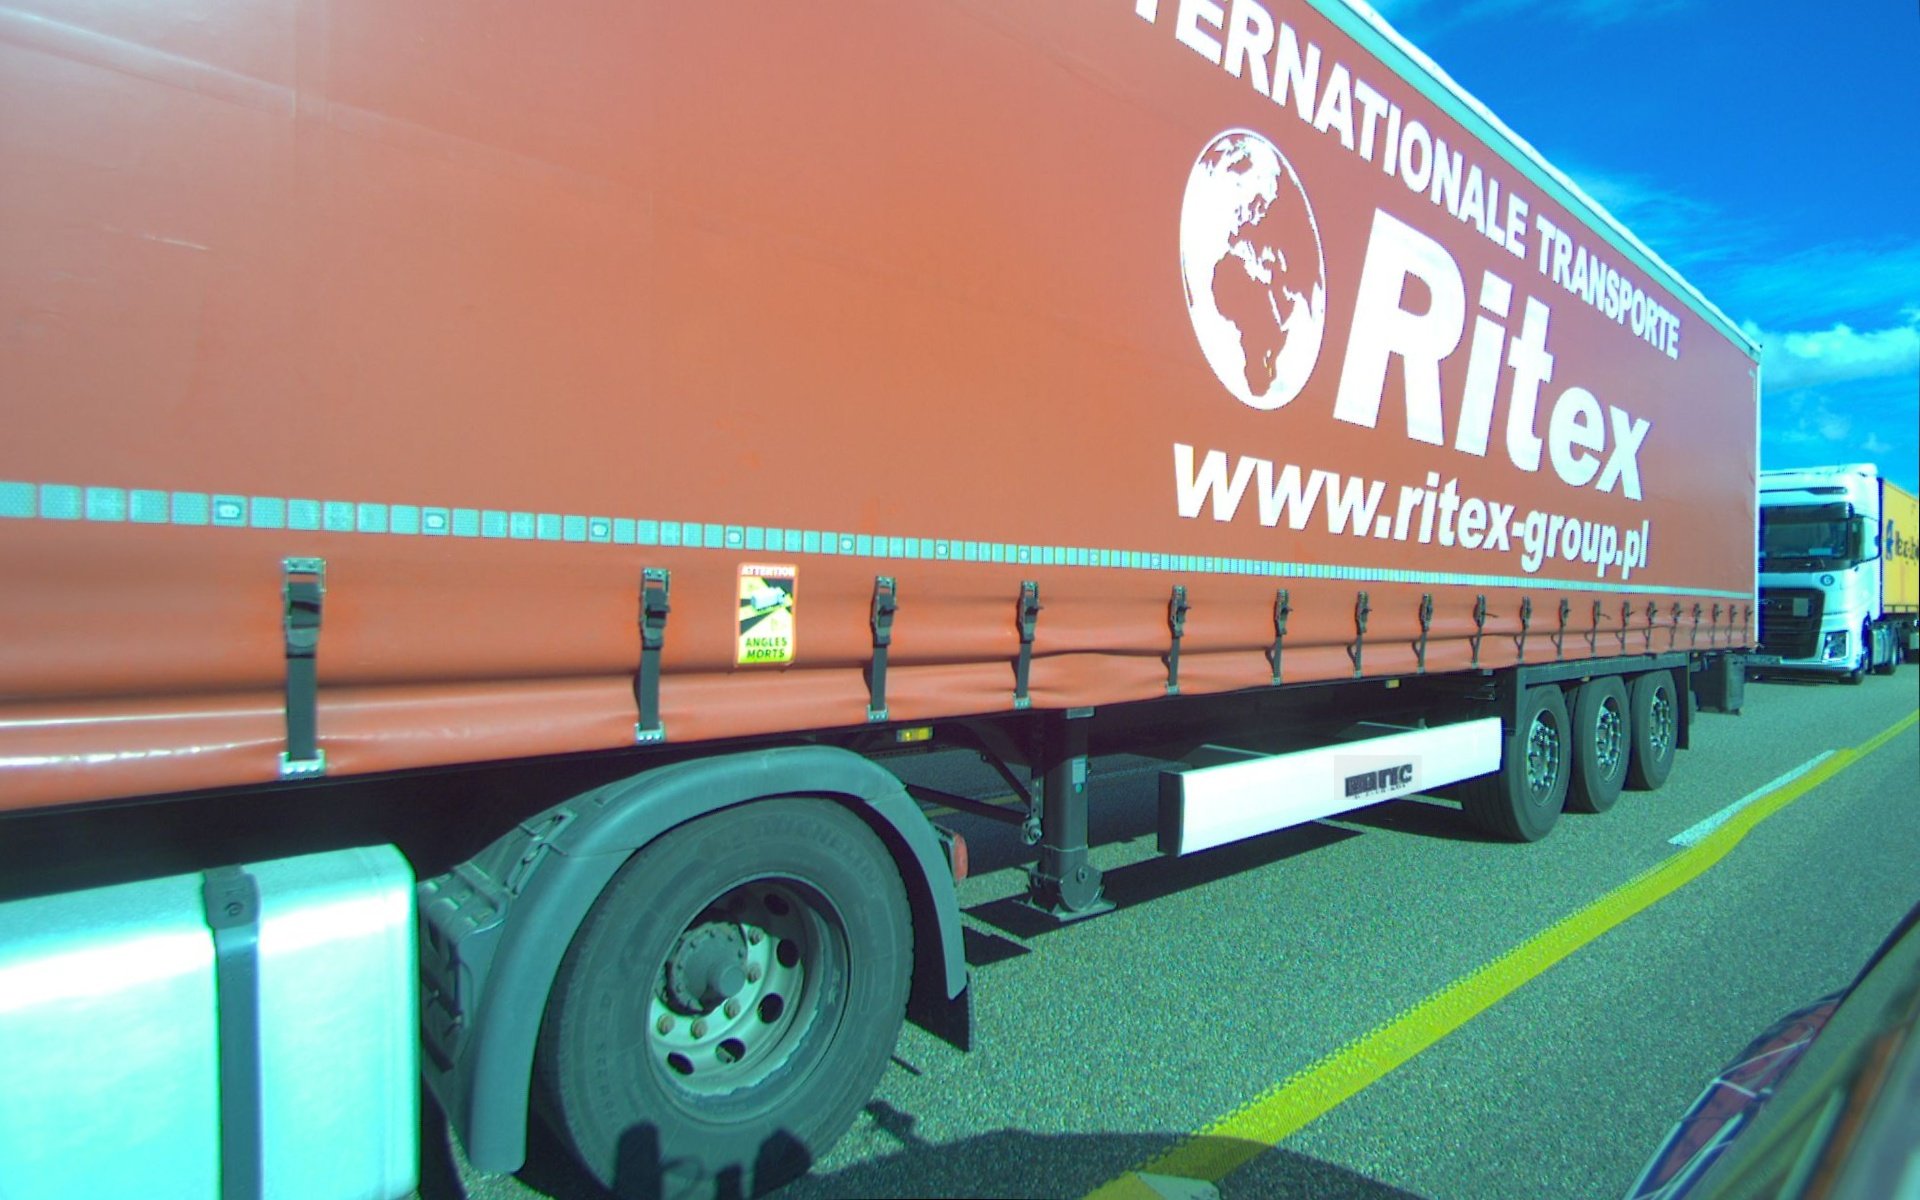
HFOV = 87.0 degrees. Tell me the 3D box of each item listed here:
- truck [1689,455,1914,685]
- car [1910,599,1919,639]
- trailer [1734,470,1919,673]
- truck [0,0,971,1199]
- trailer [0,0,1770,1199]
[{"bbox_3d":[16.462,-0.533,19.670,5.689,3.828,2.499,0,0,-41],"label":"truck"},{"bbox_3d":[34.379,0.637,34.910,4.399,1.367,1.932,0,0,-41],"label":"car"},{"bbox_3d":[21.361,-0.569,23.923,11.922,3.822,2.476,0,0,-41],"label":"trailer"},{"bbox_3d":[-2.928,-0.640,1.973,5.612,4.010,2.671,0,0,-42],"label":"truck"},{"bbox_3d":[2.080,-0.715,6.450,13.187,4.019,2.703,-1,0,-42],"label":"trailer"}]
